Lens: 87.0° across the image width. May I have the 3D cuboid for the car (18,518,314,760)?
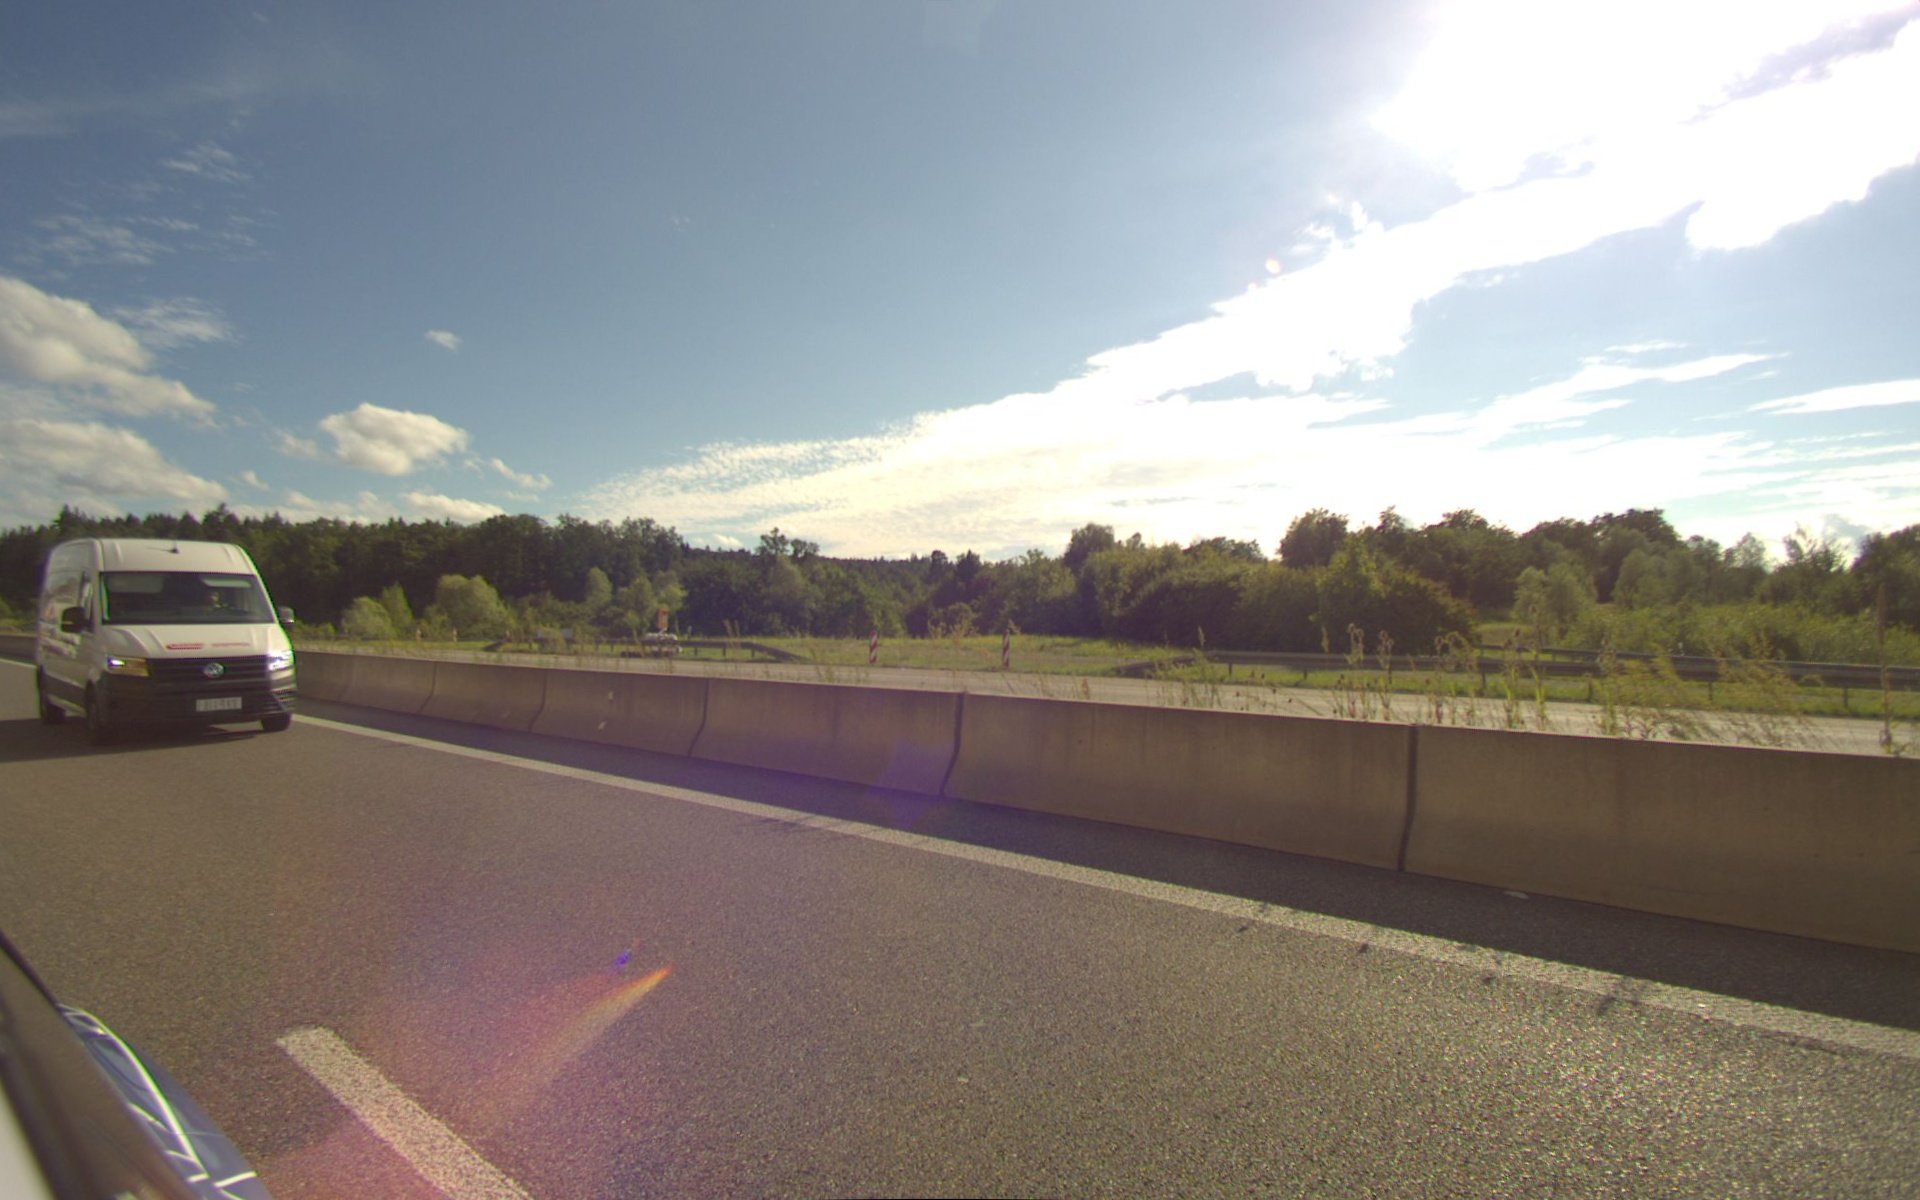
[{"bbox_3d":[-10.982,0.524,13.769,6.178,2.619,1.994,-2,-3,41],"label":"car"}]
